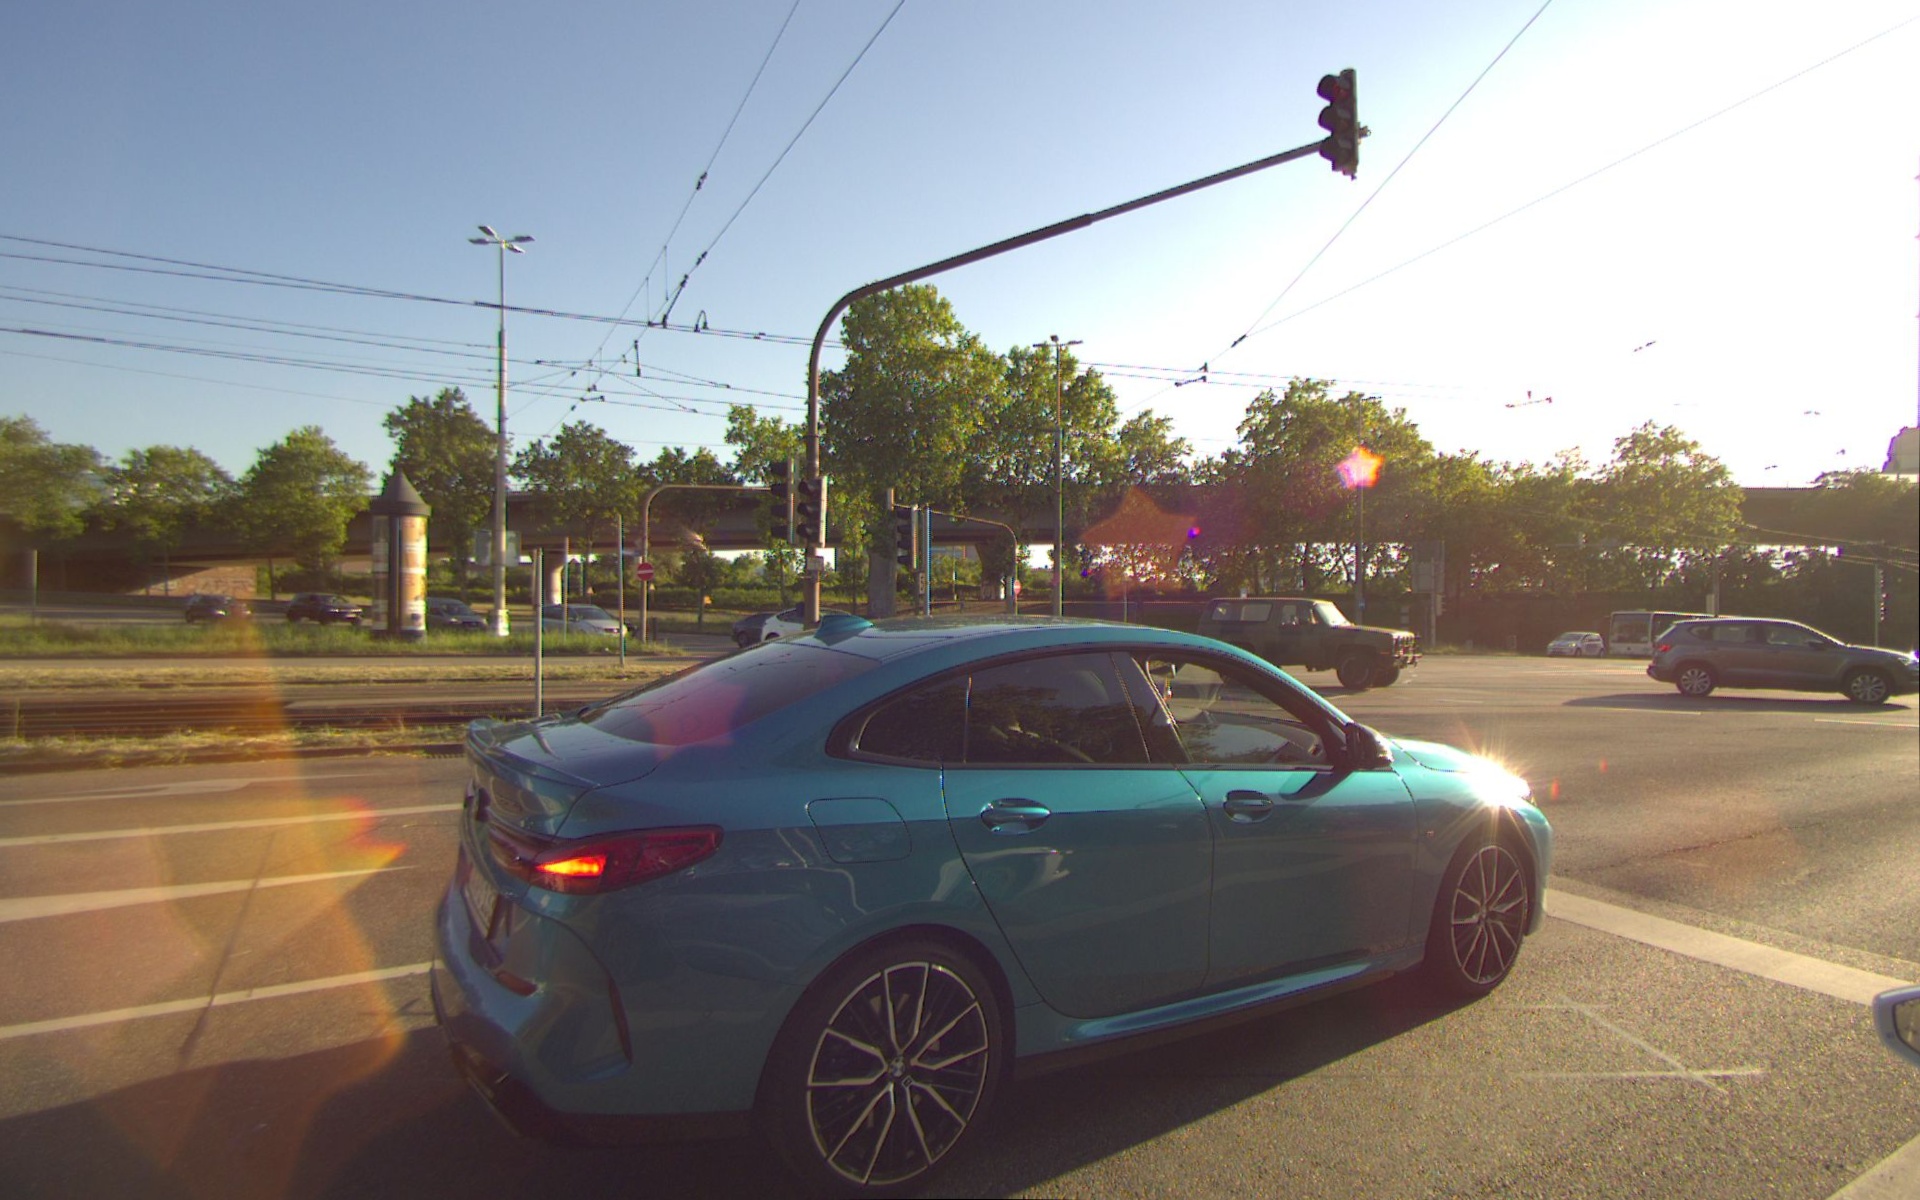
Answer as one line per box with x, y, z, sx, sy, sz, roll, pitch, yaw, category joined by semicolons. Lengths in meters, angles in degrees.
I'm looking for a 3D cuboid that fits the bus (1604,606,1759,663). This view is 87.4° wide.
45.567;2.232;63.200;12.756;3.171;2.534;3;-2;-28;bus

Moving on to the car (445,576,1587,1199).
0.466;0.747;3.818;4.162;1.485;1.704;1;-1;-33;car

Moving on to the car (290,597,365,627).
-34.881;0.643;55.351;4.333;1.546;1.621;1;0;29;car

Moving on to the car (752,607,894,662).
-4.402;1.058;31.898;4.693;1.595;1.686;0;-1;39;car

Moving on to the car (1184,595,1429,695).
7.770;0.923;22.785;4.868;2.017;2.029;1;-1;39;car

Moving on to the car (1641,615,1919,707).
16.303;1.143;20.208;4.184;1.595;1.686;1;-1;39;car

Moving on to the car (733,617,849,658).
-6.571;1.411;38.923;4.414;1.387;1.689;1;0;33;car

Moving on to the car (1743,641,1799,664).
55.039;3.549;68.157;3.959;1.438;1.600;1;0;-29;car

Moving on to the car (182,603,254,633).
-40.401;0.973;54.678;3.864;1.546;1.720;1;0;29;car

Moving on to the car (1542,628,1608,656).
35.097;2.392;57.300;3.964;1.532;1.598;2;0;-32;car

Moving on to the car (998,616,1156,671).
3.505;1.274;30.595;4.552;1.478;1.687;1;-1;38;car

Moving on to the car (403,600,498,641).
-22.995;0.900;45.321;4.335;1.701;1.691;1;0;30;car

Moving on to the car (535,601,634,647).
-14.668;0.912;39.131;4.220;1.653;1.687;1;0;38;car
